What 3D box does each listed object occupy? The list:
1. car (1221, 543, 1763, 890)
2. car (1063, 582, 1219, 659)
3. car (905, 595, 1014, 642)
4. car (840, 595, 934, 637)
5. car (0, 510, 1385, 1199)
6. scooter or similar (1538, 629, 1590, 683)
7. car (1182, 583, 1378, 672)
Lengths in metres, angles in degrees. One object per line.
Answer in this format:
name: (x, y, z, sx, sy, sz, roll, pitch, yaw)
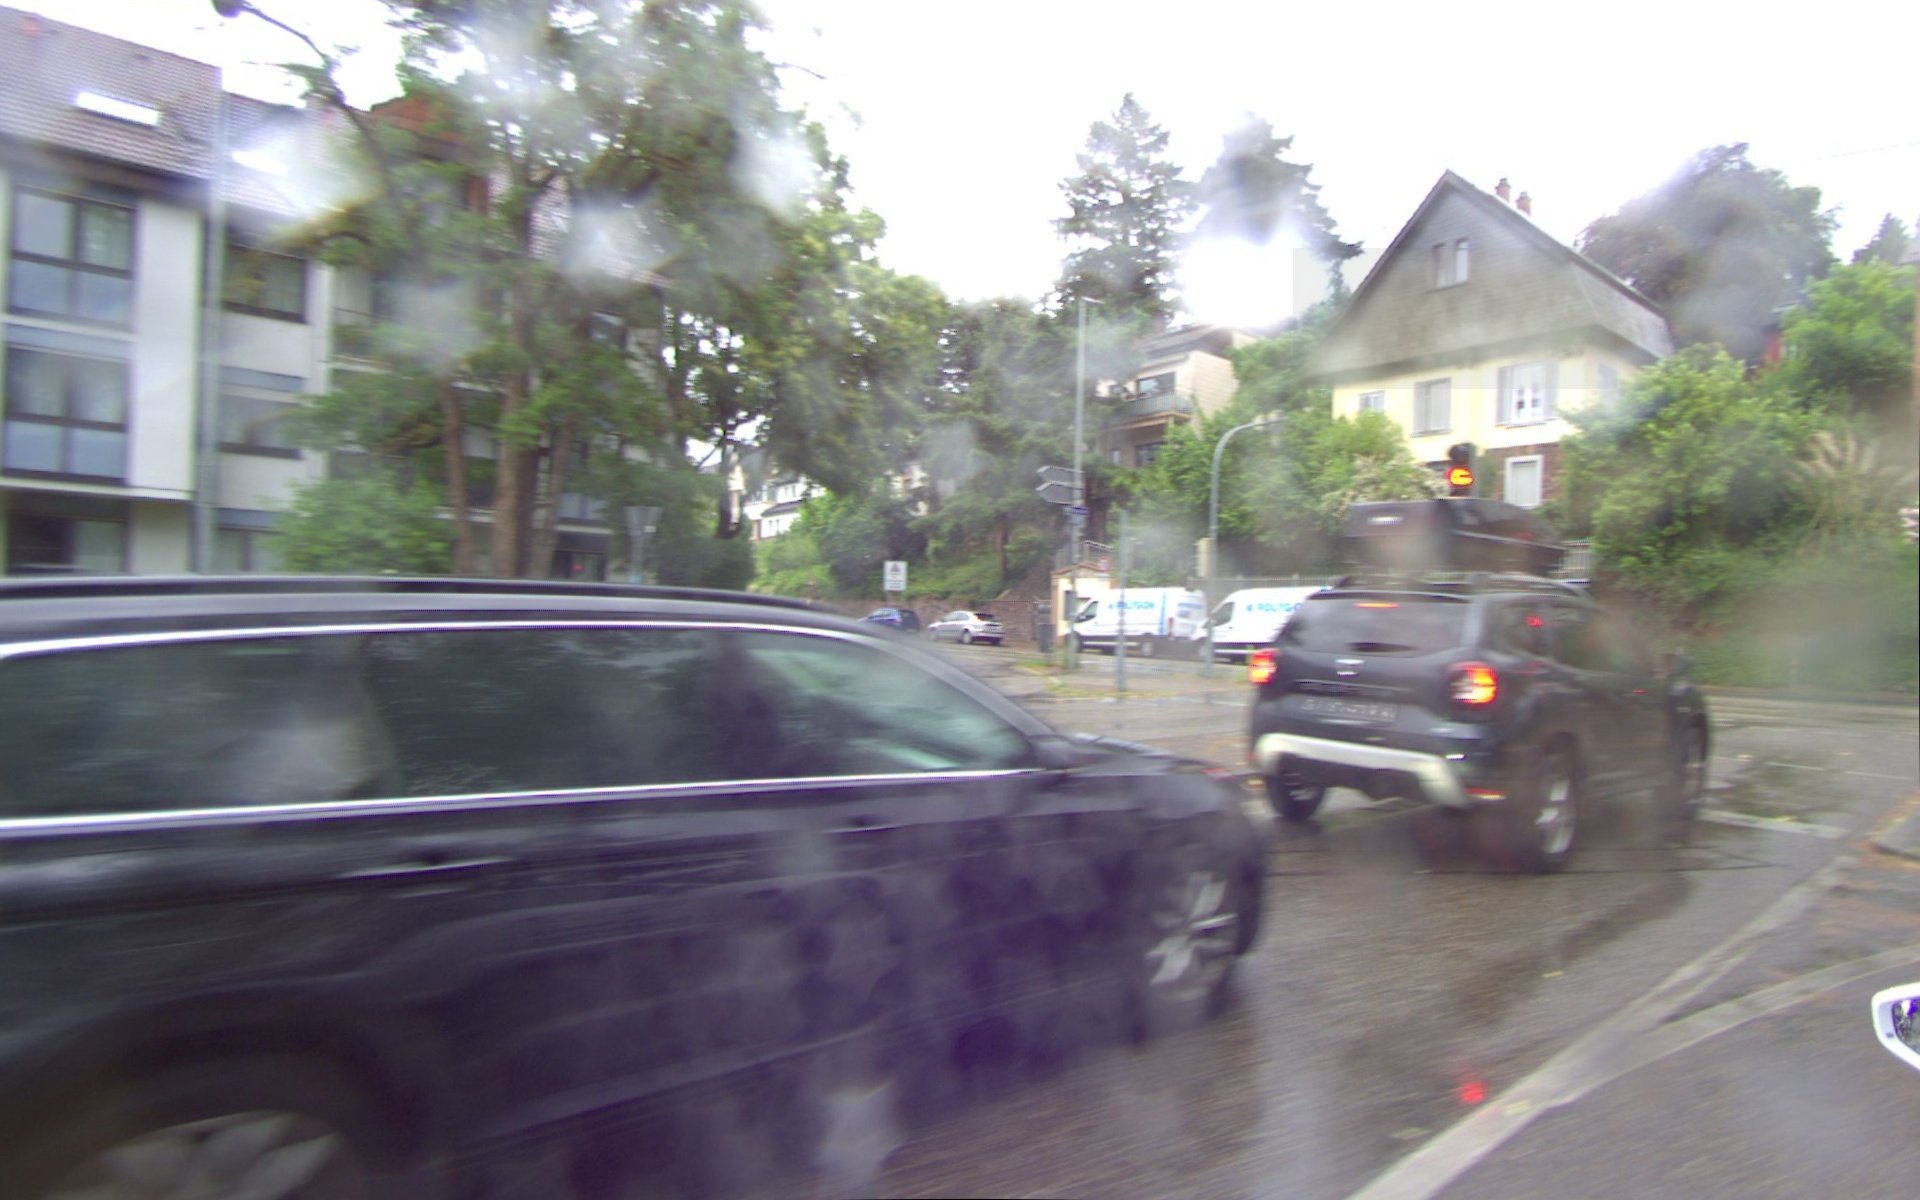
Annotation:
car: (3.981, 0.574, 7.140, 4.561, 1.734, 1.746, 1, 2, -39)
car: (6.527, 0.693, 36.943, 2.294, 2.527, 5.522, 3, 0, -36)
car: (-0.112, 0.803, 45.843, 2.091, 1.878, 5.522, 3, -1, -36)
car: (-3.806, 0.795, 51.243, 2.091, 1.878, 5.522, 3, -1, -36)
car: (-0.743, 0.568, 3.155, 4.618, 1.476, 1.817, 0, 3, -39)
scooter or similar: (15.762, 1.459, 26.224, 1.071, 1.352, 0.462, 1, -2, 10)
car: (10.027, 0.804, 31.963, 2.294, 2.527, 5.620, 3, 0, -36)
